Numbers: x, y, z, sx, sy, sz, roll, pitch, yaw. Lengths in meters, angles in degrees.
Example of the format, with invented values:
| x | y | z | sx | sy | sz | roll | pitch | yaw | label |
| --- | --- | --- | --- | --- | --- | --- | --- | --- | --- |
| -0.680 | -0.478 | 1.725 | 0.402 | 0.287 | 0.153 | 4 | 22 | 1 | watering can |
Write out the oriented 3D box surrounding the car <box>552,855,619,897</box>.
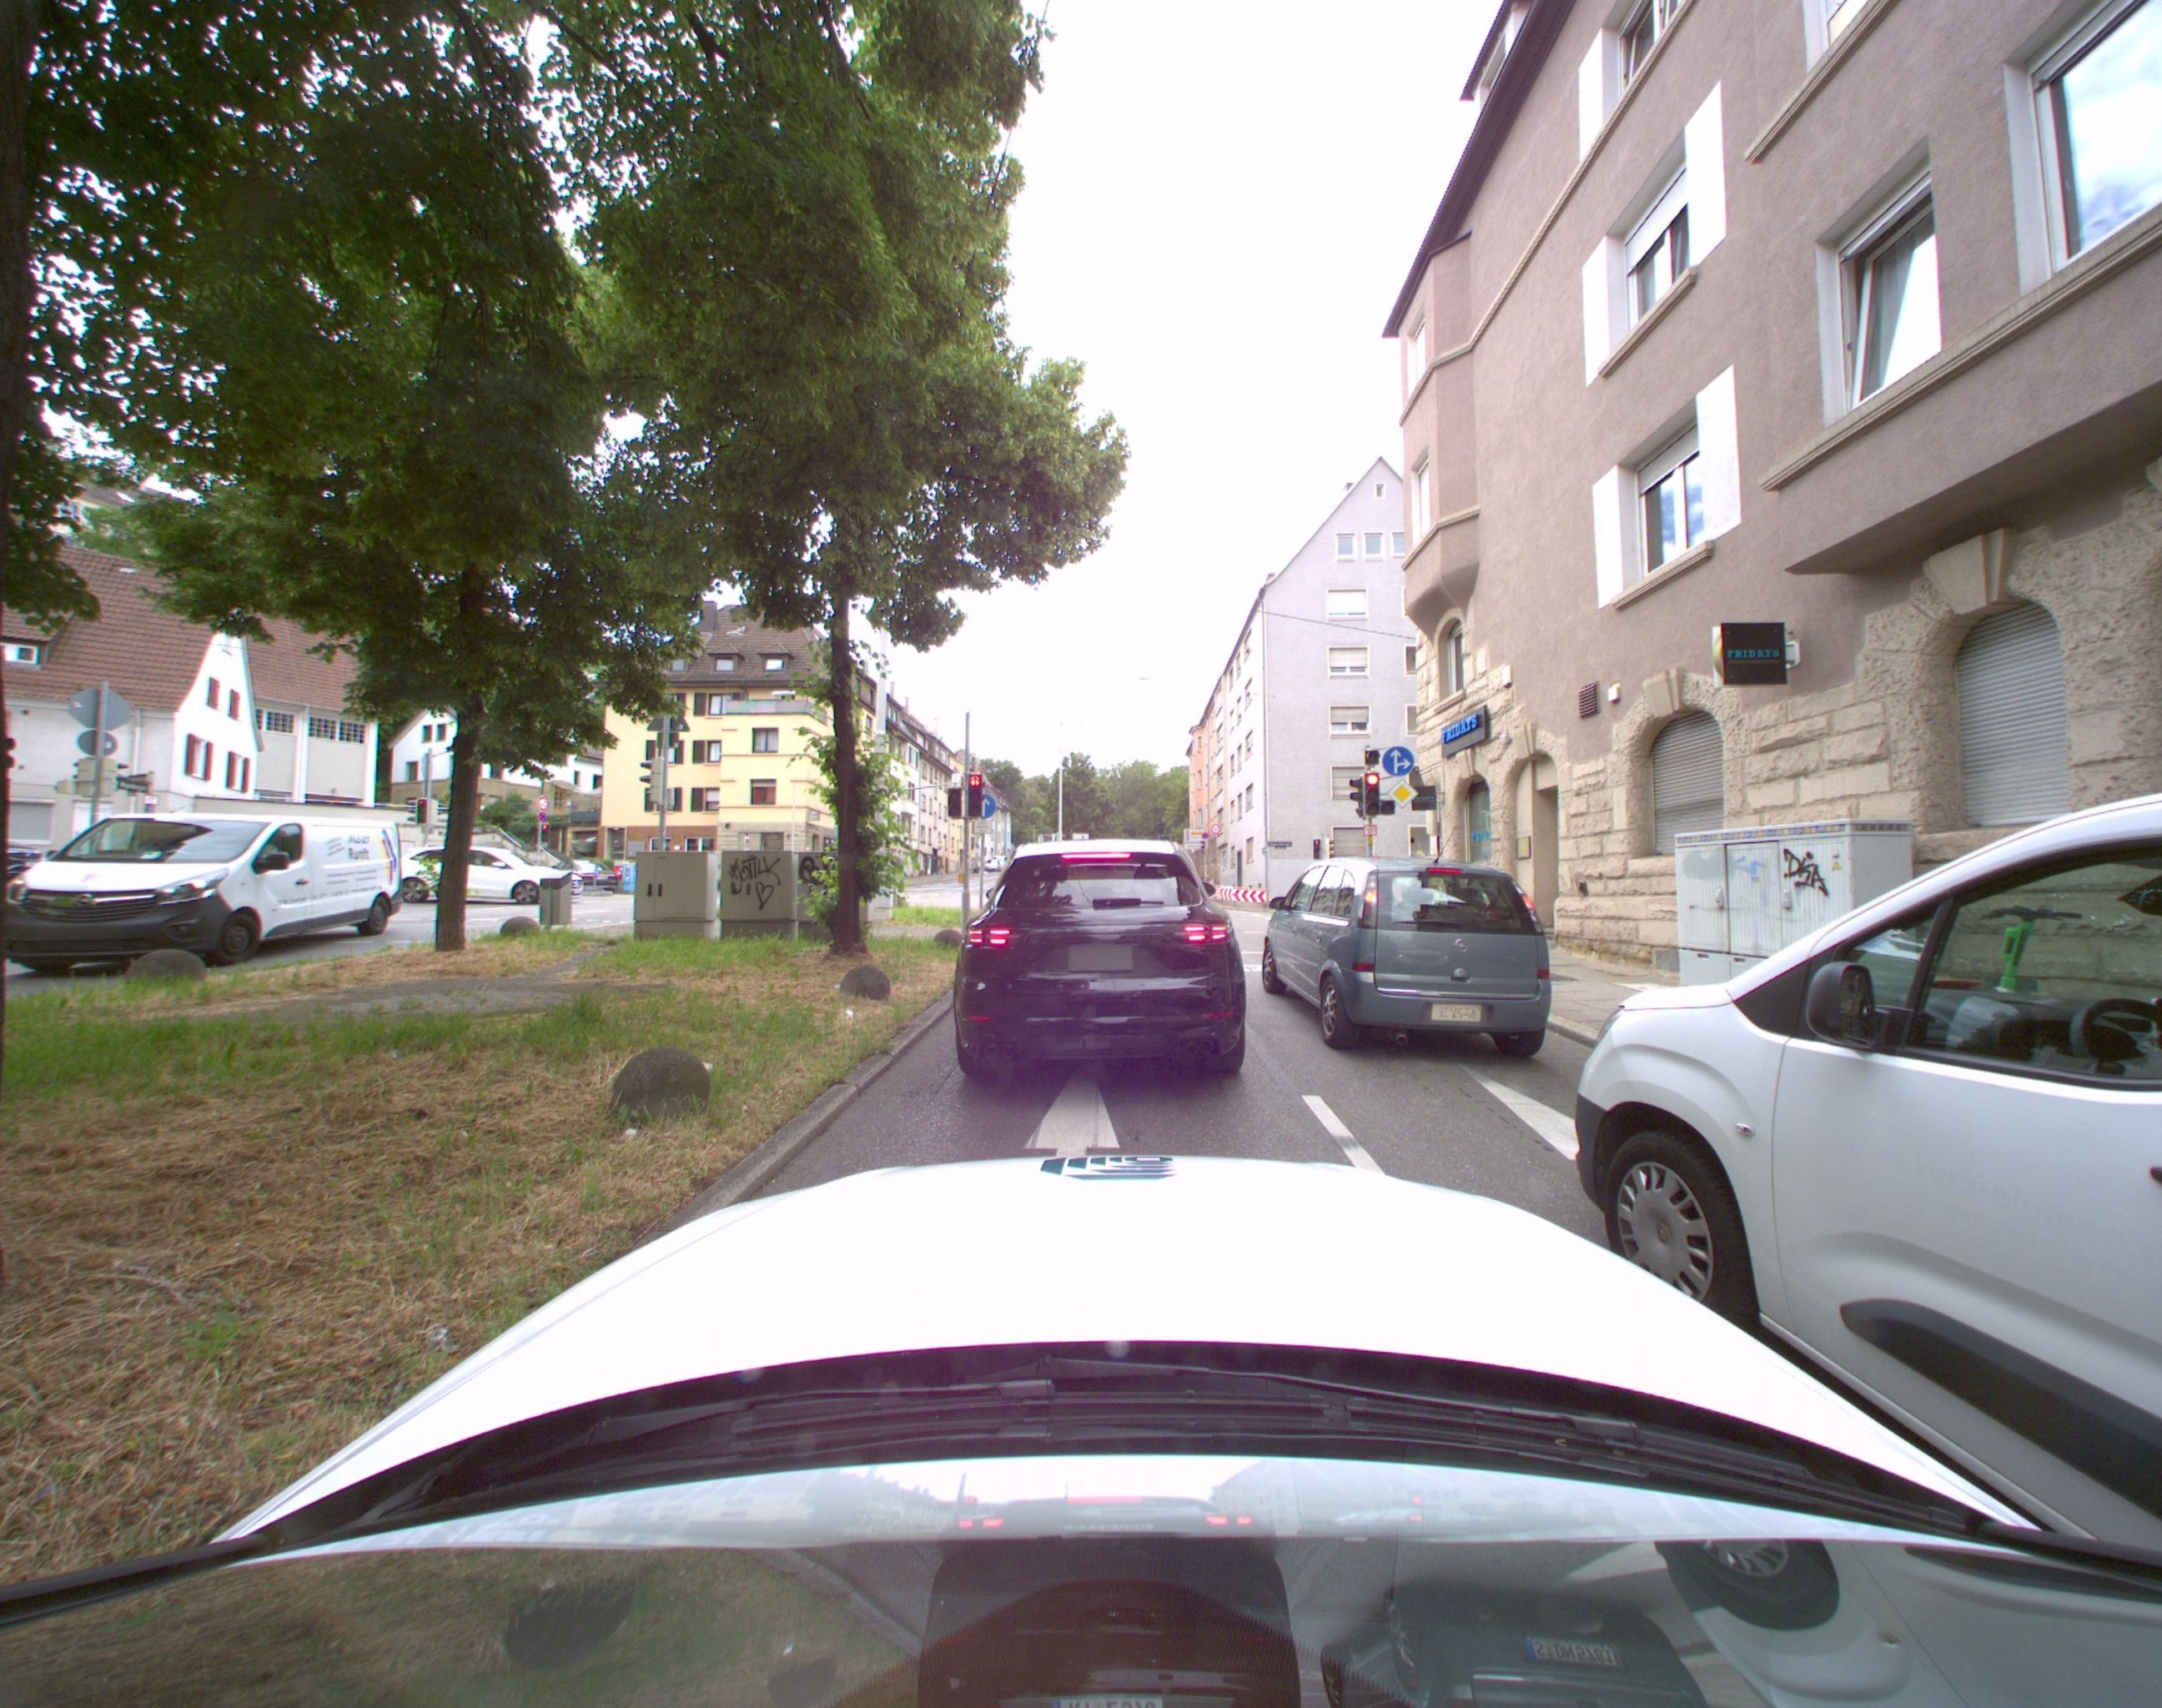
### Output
| x | y | z | sx | sy | sz | roll | pitch | yaw | label |
| --- | --- | --- | --- | --- | --- | --- | --- | --- | --- |
| -23.599 | 1.010 | 38.720 | 3.477 | 1.596 | 1.881 | 7 | 4 | 44 | car |

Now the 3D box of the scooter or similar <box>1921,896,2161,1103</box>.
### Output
| x | y | z | sx | sy | sz | roll | pitch | yaw | label |
| --- | --- | --- | --- | --- | --- | --- | --- | --- | --- |
| 6.444 | 0.862 | 5.308 | 0.524 | 1.104 | 1.424 | -1 | -1 | 4 | scooter or similar |

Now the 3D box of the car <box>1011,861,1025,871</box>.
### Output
| x | y | z | sx | sy | sz | roll | pitch | yaw | label |
| --- | --- | --- | --- | --- | --- | --- | --- | --- | --- |
| -9.660 | 1.863 | 125.336 | 1.682 | 1.538 | 3.815 | 0 | -1 | 2 | car |

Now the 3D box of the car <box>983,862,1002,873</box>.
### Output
| x | y | z | sx | sy | sz | roll | pitch | yaw | label |
| --- | --- | --- | --- | --- | --- | --- | --- | --- | --- |
| -10.824 | 1.646 | 99.282 | 1.732 | 1.387 | 3.815 | 0 | -1 | 2 | car |

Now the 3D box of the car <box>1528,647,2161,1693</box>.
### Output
| x | y | z | sx | sy | sz | roll | pitch | yaw | label |
| --- | --- | --- | --- | --- | --- | --- | --- | --- | --- |
| 2.840 | 0.569 | 1.012 | 1.969 | 1.775 | 4.676 | 3 | 0 | 0 | car |

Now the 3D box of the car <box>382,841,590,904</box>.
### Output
| x | y | z | sx | sy | sz | roll | pitch | yaw | label |
| --- | --- | --- | --- | --- | --- | --- | --- | --- | --- |
| -16.242 | 0.526 | 22.465 | 4.251 | 1.594 | 1.684 | 1 | -1 | -11 | car |

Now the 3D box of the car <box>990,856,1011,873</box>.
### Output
| x | y | z | sx | sy | sz | roll | pitch | yaw | label |
| --- | --- | --- | --- | --- | --- | --- | --- | --- | --- |
| -10.393 | 1.357 | 105.012 | 2.008 | 2.045 | 4.669 | 0 | -1 | 2 | car |

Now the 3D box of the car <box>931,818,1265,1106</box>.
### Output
| x | y | z | sx | sy | sz | roll | pitch | yaw | label |
| --- | --- | --- | --- | --- | --- | --- | --- | --- | --- |
| 0.162 | 0.655 | 6.827 | 1.948 | 1.674 | 4.001 | -1 | -1 | 2 | car |

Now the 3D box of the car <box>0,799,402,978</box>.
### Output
| x | y | z | sx | sy | sz | roll | pitch | yaw | label |
| --- | --- | --- | --- | --- | --- | --- | --- | --- | --- |
| -12.013 | 0.363 | 11.610 | 2.001 | 1.945 | 5.269 | 0 | 0 | -22 | car |

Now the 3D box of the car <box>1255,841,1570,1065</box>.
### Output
| x | y | z | sx | sy | sz | roll | pitch | yaw | label |
| --- | --- | --- | --- | --- | --- | --- | --- | --- | --- |
| 2.869 | 0.751 | 7.927 | 1.622 | 1.598 | 3.670 | 3 | 0 | 2 | car |

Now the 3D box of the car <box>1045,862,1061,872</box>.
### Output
| x | y | z | sx | sy | sz | roll | pitch | yaw | label |
| --- | --- | --- | --- | --- | --- | --- | --- | --- | --- |
| -3.934 | 1.815 | 114.184 | 1.854 | 1.388 | 4.096 | 0 | 0 | 2 | car |
